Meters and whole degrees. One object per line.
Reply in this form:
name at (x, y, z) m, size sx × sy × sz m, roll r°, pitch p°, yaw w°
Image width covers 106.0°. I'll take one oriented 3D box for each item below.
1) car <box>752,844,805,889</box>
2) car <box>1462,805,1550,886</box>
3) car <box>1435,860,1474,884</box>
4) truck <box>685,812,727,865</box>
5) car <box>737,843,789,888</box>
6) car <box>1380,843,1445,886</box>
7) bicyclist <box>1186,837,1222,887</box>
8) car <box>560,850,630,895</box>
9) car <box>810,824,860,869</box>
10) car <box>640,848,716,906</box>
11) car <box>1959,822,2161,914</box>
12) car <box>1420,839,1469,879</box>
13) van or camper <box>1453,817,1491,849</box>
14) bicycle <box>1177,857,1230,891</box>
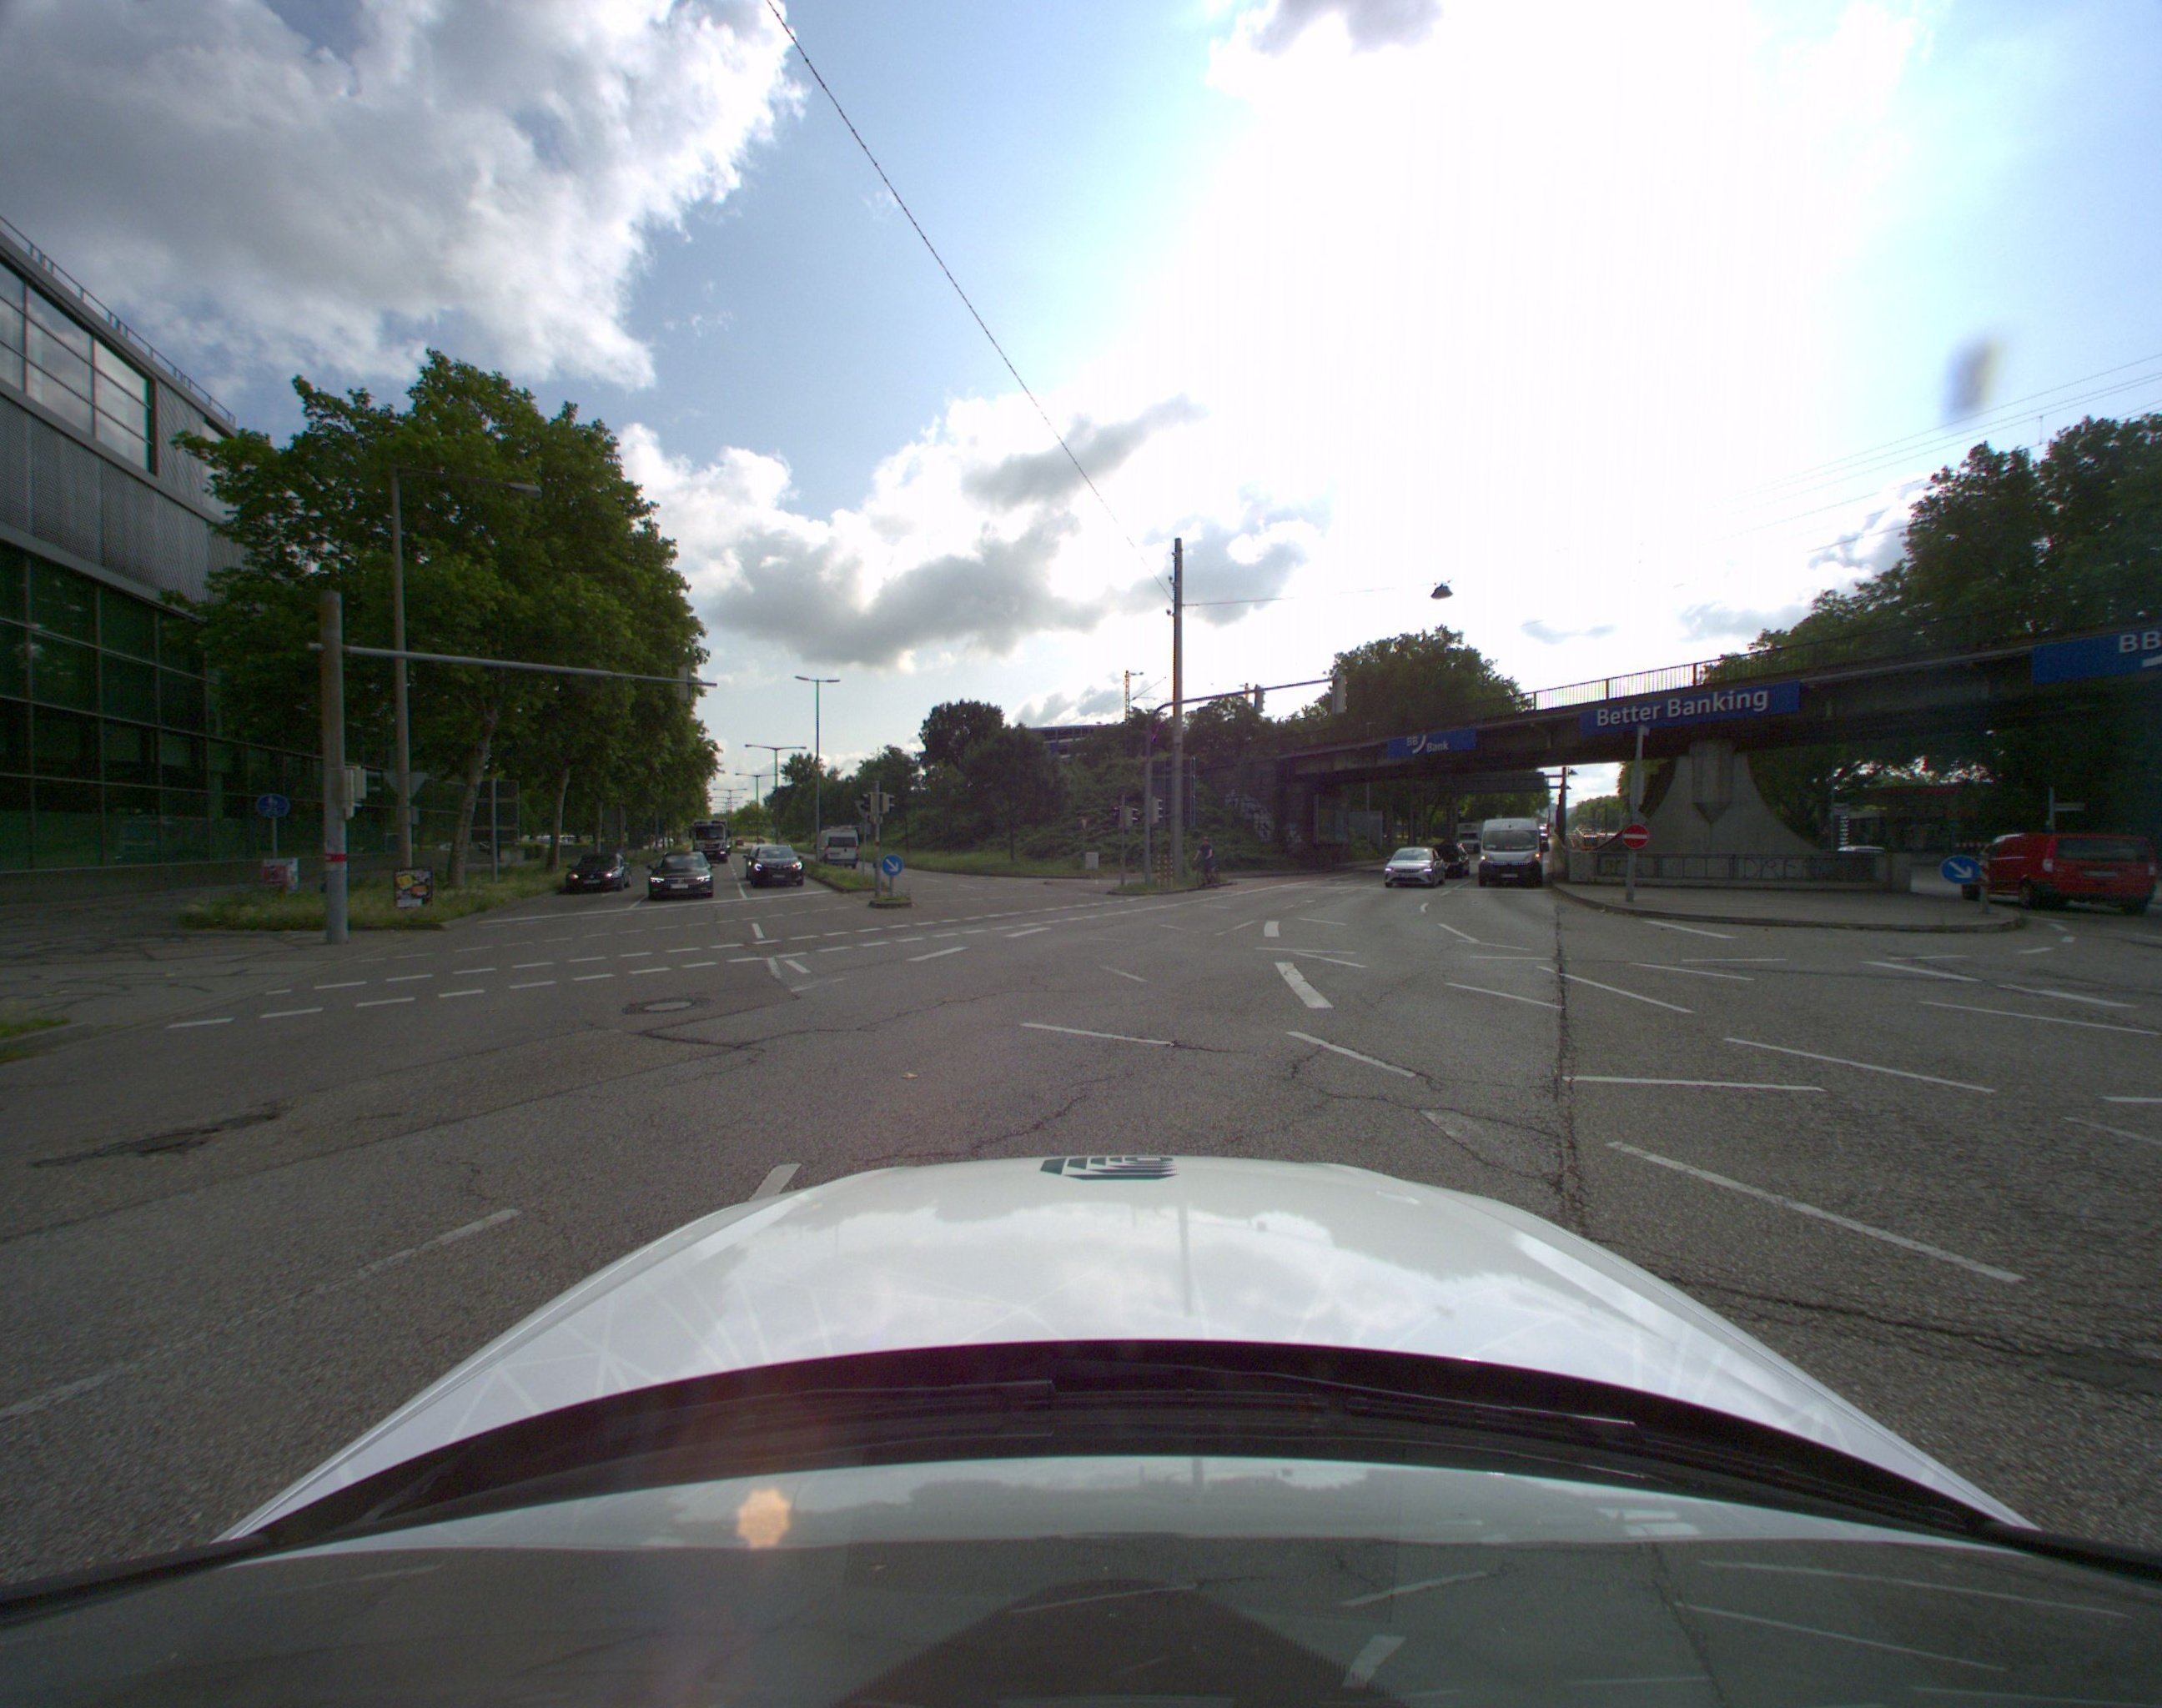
car at (-11.956, 0.439, 32.056) m, size 1.715 × 1.587 × 4.329 m, roll -2°, pitch 1°, yaw -23°
car at (15.944, -0.212, 30.400) m, size 2.236 × 2.527 × 5.661 m, roll -8°, pitch -5°, yaw 31°
car at (28.888, 1.375, 62.877) m, size 1.974 × 1.607 × 4.025 m, roll -6°, pitch -4°, yaw 34°
truck at (-30.282, -1.198, 66.045) m, size 2.662 × 3.887 × 10.081 m, roll -2°, pitch 1°, yaw -23°
car at (-14.781, 0.587, 37.741) m, size 2.003 × 1.728 × 3.966 m, roll -2°, pitch -4°, yaw -25°
car at (12.311, 0.429, 30.096) m, size 1.686 × 1.477 × 4.024 m, roll -2°, pitch -3°, yaw 29°
bicyclist at (4.381, 0.300, 29.043) m, size 0.834 × 1.679 × 0.829 m, roll -8°, pitch -5°, yaw 37°
car at (-18.222, 0.728, 30.697) m, size 1.737 × 1.572 × 3.968 m, roll 0°, pitch -3°, yaw -24°
car at (-15.872, -0.580, 52.421) m, size 2.210 × 2.725 × 4.888 m, roll -2°, pitch 3°, yaw -27°
car at (-13.062, 0.655, 26.613) m, size 1.873 × 1.573 × 4.534 m, roll -2°, pitch 2°, yaw -23°
car at (24.759, 0.242, 20.737) m, size 1.937 × 2.016 × 4.706 m, roll 3°, pitch 3°, yaw 31°
car at (16.466, 0.287, 36.791) m, size 1.748 × 1.583 × 4.691 m, roll -5°, pitch -4°, yaw 26°
van or camper at (40.653, -2.148, 84.581) m, size 2.631 × 3.080 × 5.786 m, roll -3°, pitch 0°, yaw 33°
bicycle at (4.401, 0.691, 29.026) m, size 0.834 × 1.093 × 2.333 m, roll 1°, pitch 1°, yaw 38°
